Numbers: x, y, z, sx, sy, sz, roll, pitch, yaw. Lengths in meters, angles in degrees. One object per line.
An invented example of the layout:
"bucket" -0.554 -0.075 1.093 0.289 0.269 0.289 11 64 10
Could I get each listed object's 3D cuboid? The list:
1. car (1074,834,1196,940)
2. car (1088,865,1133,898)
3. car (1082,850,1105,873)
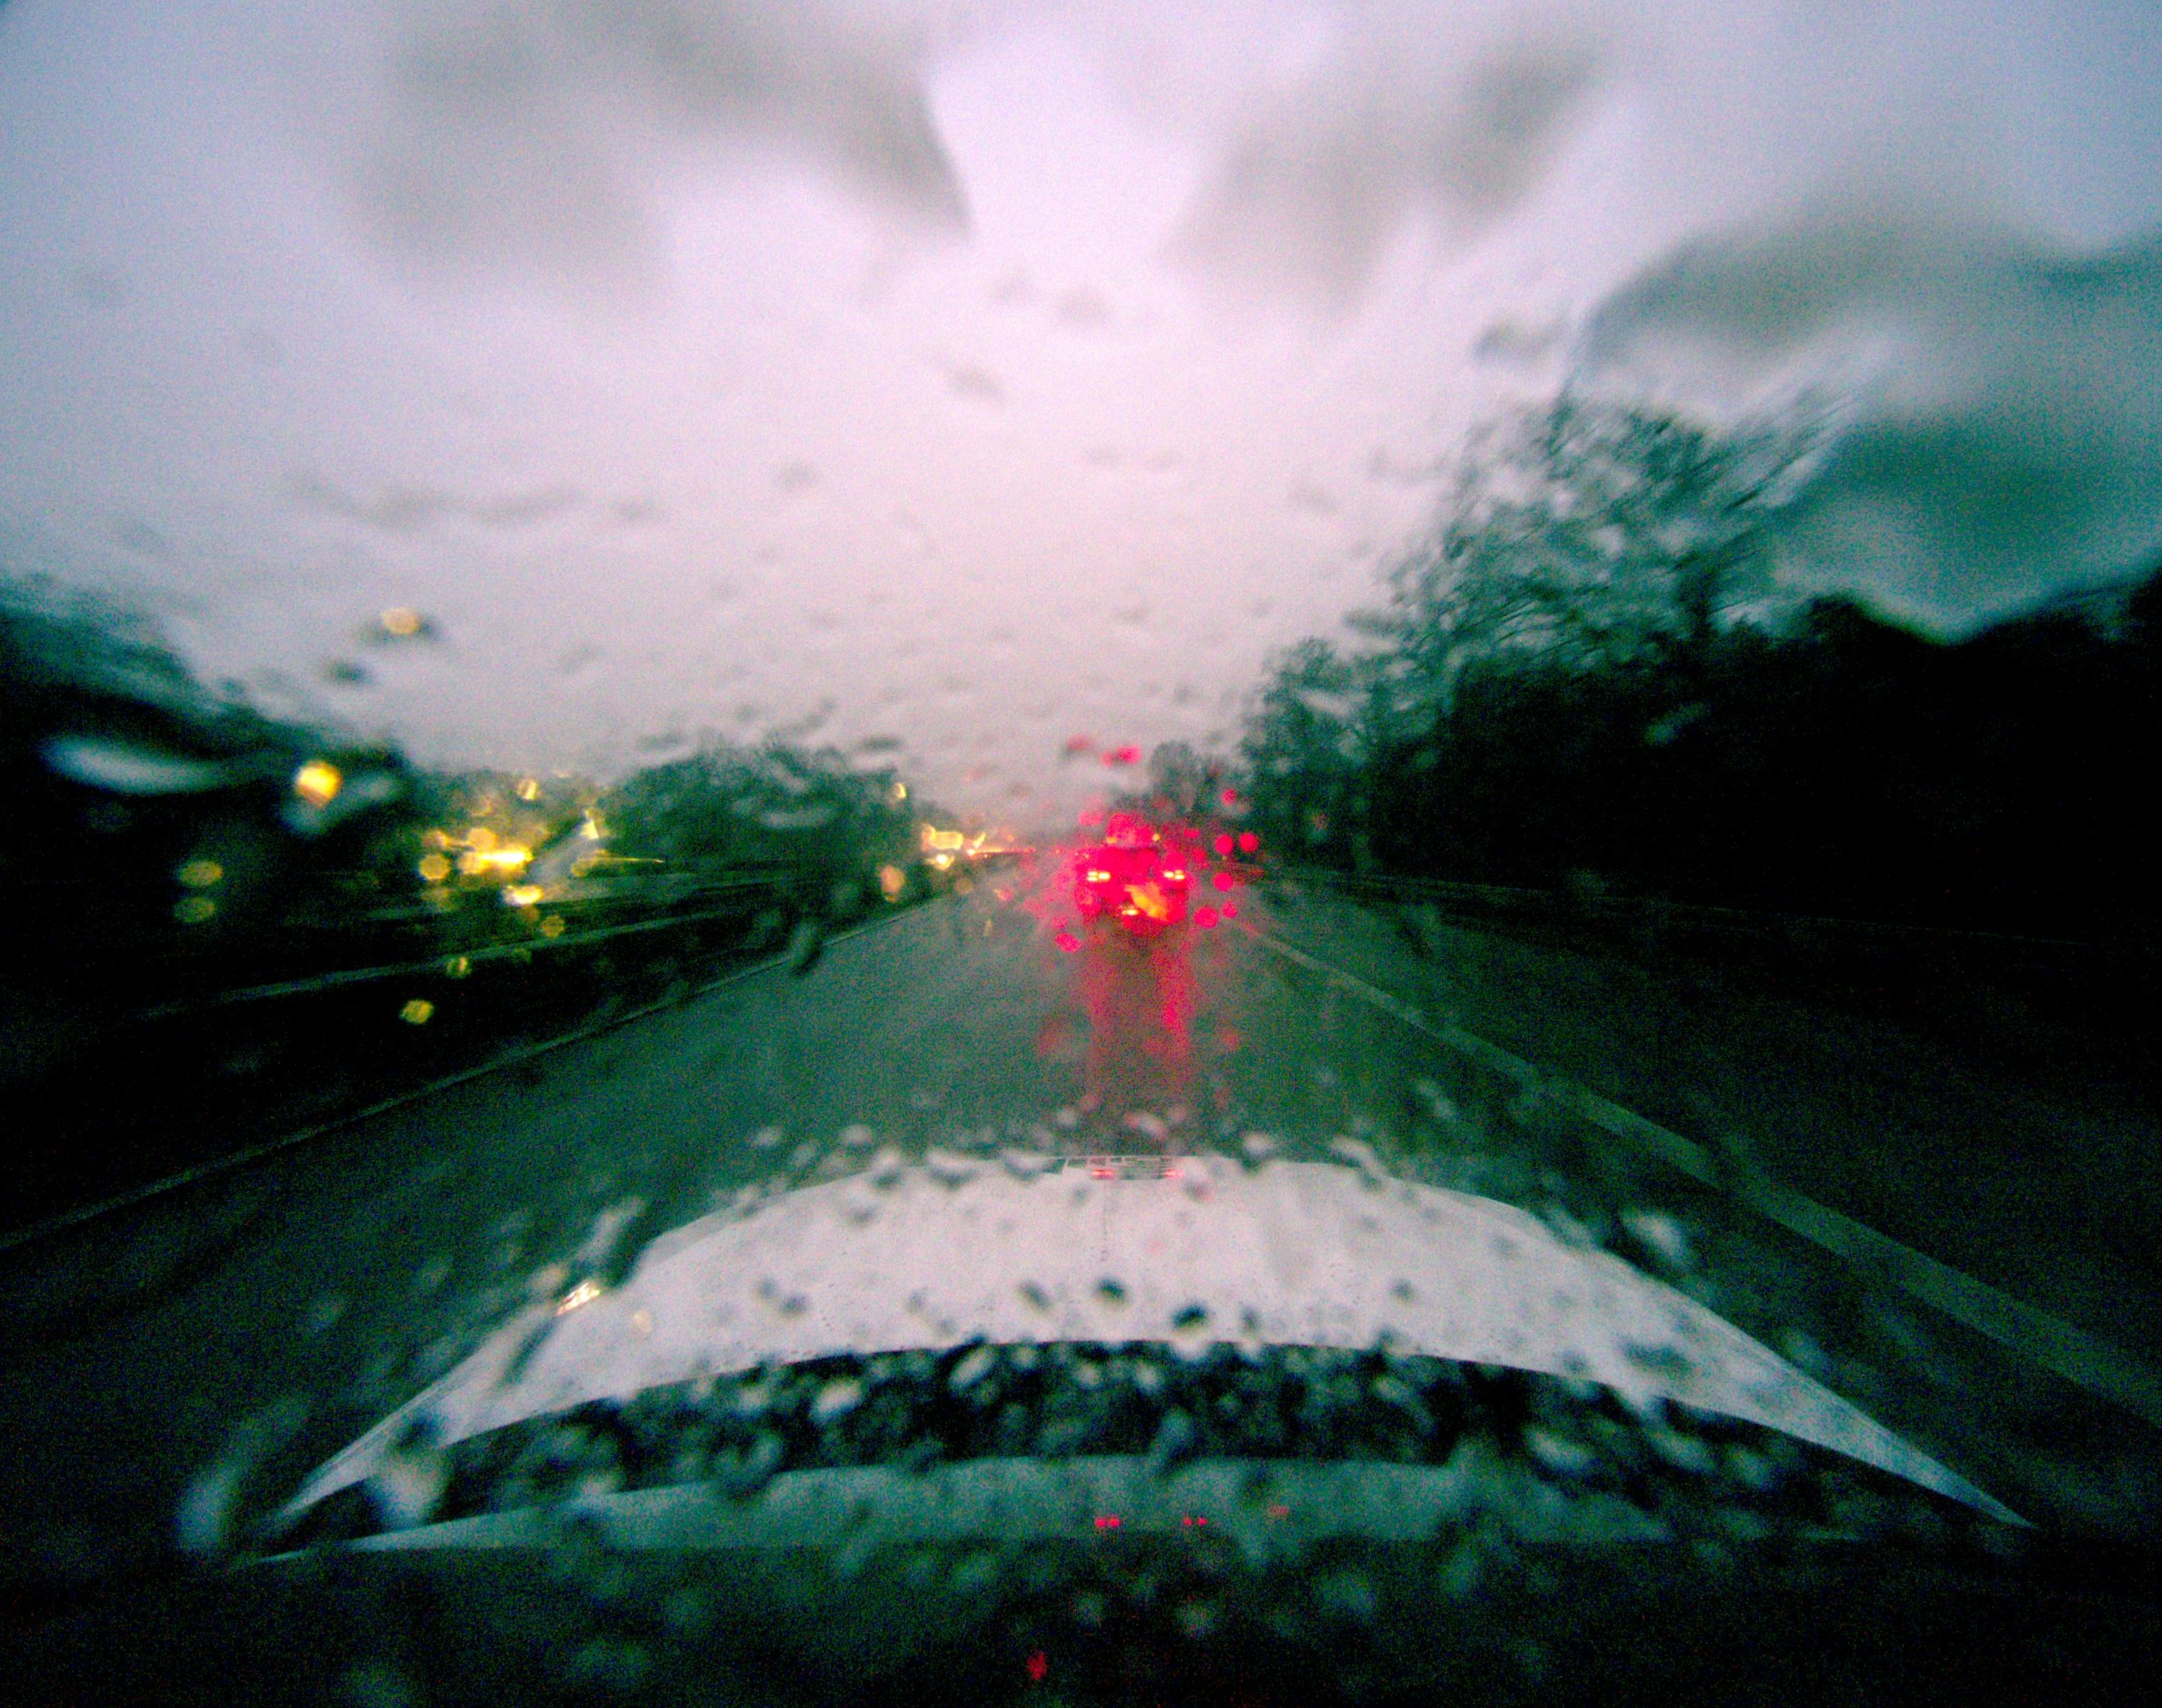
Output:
"car" 0.896 0.542 15.301 1.985 1.715 3.830 -1 0 0
"car" 1.440 1.281 39.016 1.985 1.420 4.003 1 0 3
"car" 1.103 0.653 73.679 1.987 2.013 3.999 -1 0 0
